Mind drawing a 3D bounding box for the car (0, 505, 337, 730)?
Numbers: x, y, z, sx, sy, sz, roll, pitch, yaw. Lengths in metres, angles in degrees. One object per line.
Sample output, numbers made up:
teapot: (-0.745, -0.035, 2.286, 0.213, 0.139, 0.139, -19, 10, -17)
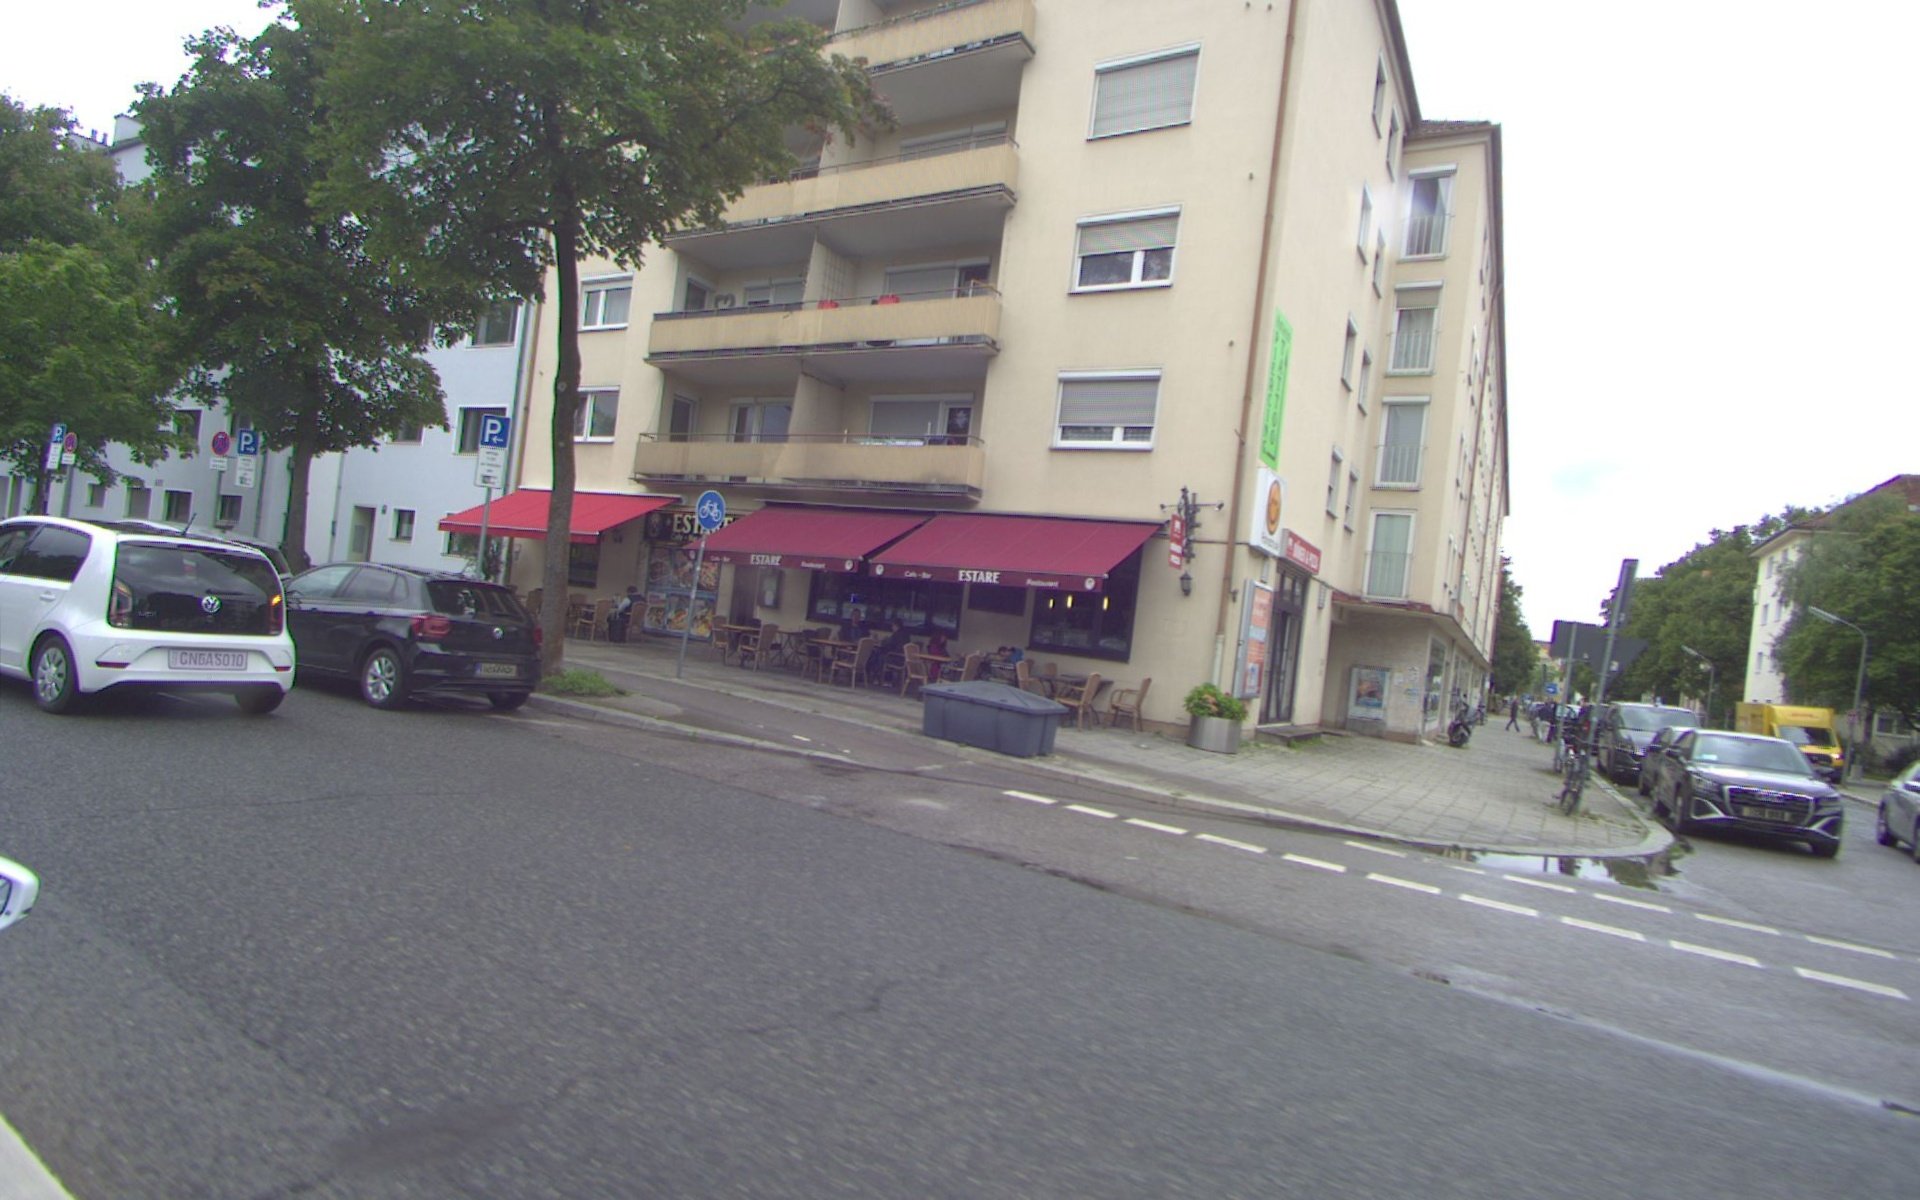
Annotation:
car: (-7.351, 0.059, 8.588, 3.372, 1.507, 1.692, 7, -1, 23)

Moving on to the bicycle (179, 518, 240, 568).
bicycle: (-24.943, -1.892, 33.402, 2.550, 1.425, 0.703, 6, 2, 33)

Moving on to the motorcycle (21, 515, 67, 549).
motorcycle: (-36.275, -2.691, 39.836, 2.163, 1.099, 0.762, 7, 0, 33)

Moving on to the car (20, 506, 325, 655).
car: (-11.186, -0.305, 14.218, 4.448, 1.540, 1.833, 7, -1, 31)

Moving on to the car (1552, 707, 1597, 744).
car: (35.982, 7.317, 58.970, 1.967, 1.806, 4.994, 7, -2, 31)

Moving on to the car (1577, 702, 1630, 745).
car: (26.725, 5.114, 41.856, 1.573, 1.459, 3.763, 7, -2, 31)

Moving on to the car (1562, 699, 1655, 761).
car: (24.097, 4.783, 37.567, 2.117, 1.806, 4.999, 7, -2, 26)

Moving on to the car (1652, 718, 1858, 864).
car: (11.476, 2.652, 14.796, 1.701, 1.537, 3.933, 7, -2, 31)

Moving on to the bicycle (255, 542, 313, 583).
bicycle: (-20.490, -1.147, 30.472, 2.159, 1.061, 0.621, 6, 3, 33)

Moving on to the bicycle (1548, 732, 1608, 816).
bicycle: (8.842, 2.451, 14.358, 0.545, 1.022, 1.540, 7, -1, 35)

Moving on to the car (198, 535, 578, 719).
car: (-6.460, 0.281, 11.337, 3.820, 1.490, 1.834, 7, -1, 28)

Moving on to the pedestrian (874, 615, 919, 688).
pedestrian: (-1.179, 0.959, 18.688, 0.479, 1.283, 0.539, 7, -1, 31)

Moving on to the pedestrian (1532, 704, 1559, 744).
pedestrian: (22.599, 4.784, 38.834, 0.721, 1.427, 0.494, 7, -1, 28)

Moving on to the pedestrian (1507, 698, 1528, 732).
pedestrian: (26.777, 5.517, 48.300, 0.710, 1.532, 0.424, 7, -1, 30)

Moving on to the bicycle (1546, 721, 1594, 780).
bicycle: (13.188, 3.230, 21.795, 0.544, 1.097, 1.881, 7, -1, 24)

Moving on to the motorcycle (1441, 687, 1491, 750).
motorcycle: (13.436, 3.118, 26.664, 0.875, 1.459, 3.258, 7, -2, 30)

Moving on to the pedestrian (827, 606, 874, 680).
pedestrian: (-2.110, 0.832, 19.448, 0.543, 1.355, 0.539, 7, -1, 31)

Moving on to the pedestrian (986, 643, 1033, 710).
pedestrian: (0.850, 1.314, 17.251, 0.479, 1.066, 0.539, 7, -1, 32)

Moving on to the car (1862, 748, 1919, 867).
car: (14.477, 3.032, 14.197, 1.969, 1.459, 4.212, 6, -2, 35)

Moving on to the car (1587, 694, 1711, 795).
car: (16.620, 3.413, 24.511, 1.967, 1.907, 4.994, 7, -2, 31)

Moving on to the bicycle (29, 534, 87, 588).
bicycle: (-18.814, -0.824, 20.974, 1.648, 0.958, 0.386, 7, 0, 33)

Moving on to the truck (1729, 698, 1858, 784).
truck: (32.545, 5.407, 39.545, 2.237, 2.803, 6.764, 5, -2, 27)

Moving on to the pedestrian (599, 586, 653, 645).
pedestrian: (-7.276, 0.342, 21.926, 0.636, 1.177, 0.744, 7, -1, 32)

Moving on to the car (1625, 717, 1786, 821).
car: (14.334, 3.183, 19.581, 1.967, 1.459, 3.995, 7, -2, 31)

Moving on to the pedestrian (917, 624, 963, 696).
pedestrian: (-0.358, 1.087, 18.186, 0.479, 1.228, 0.538, 7, -1, 32)
